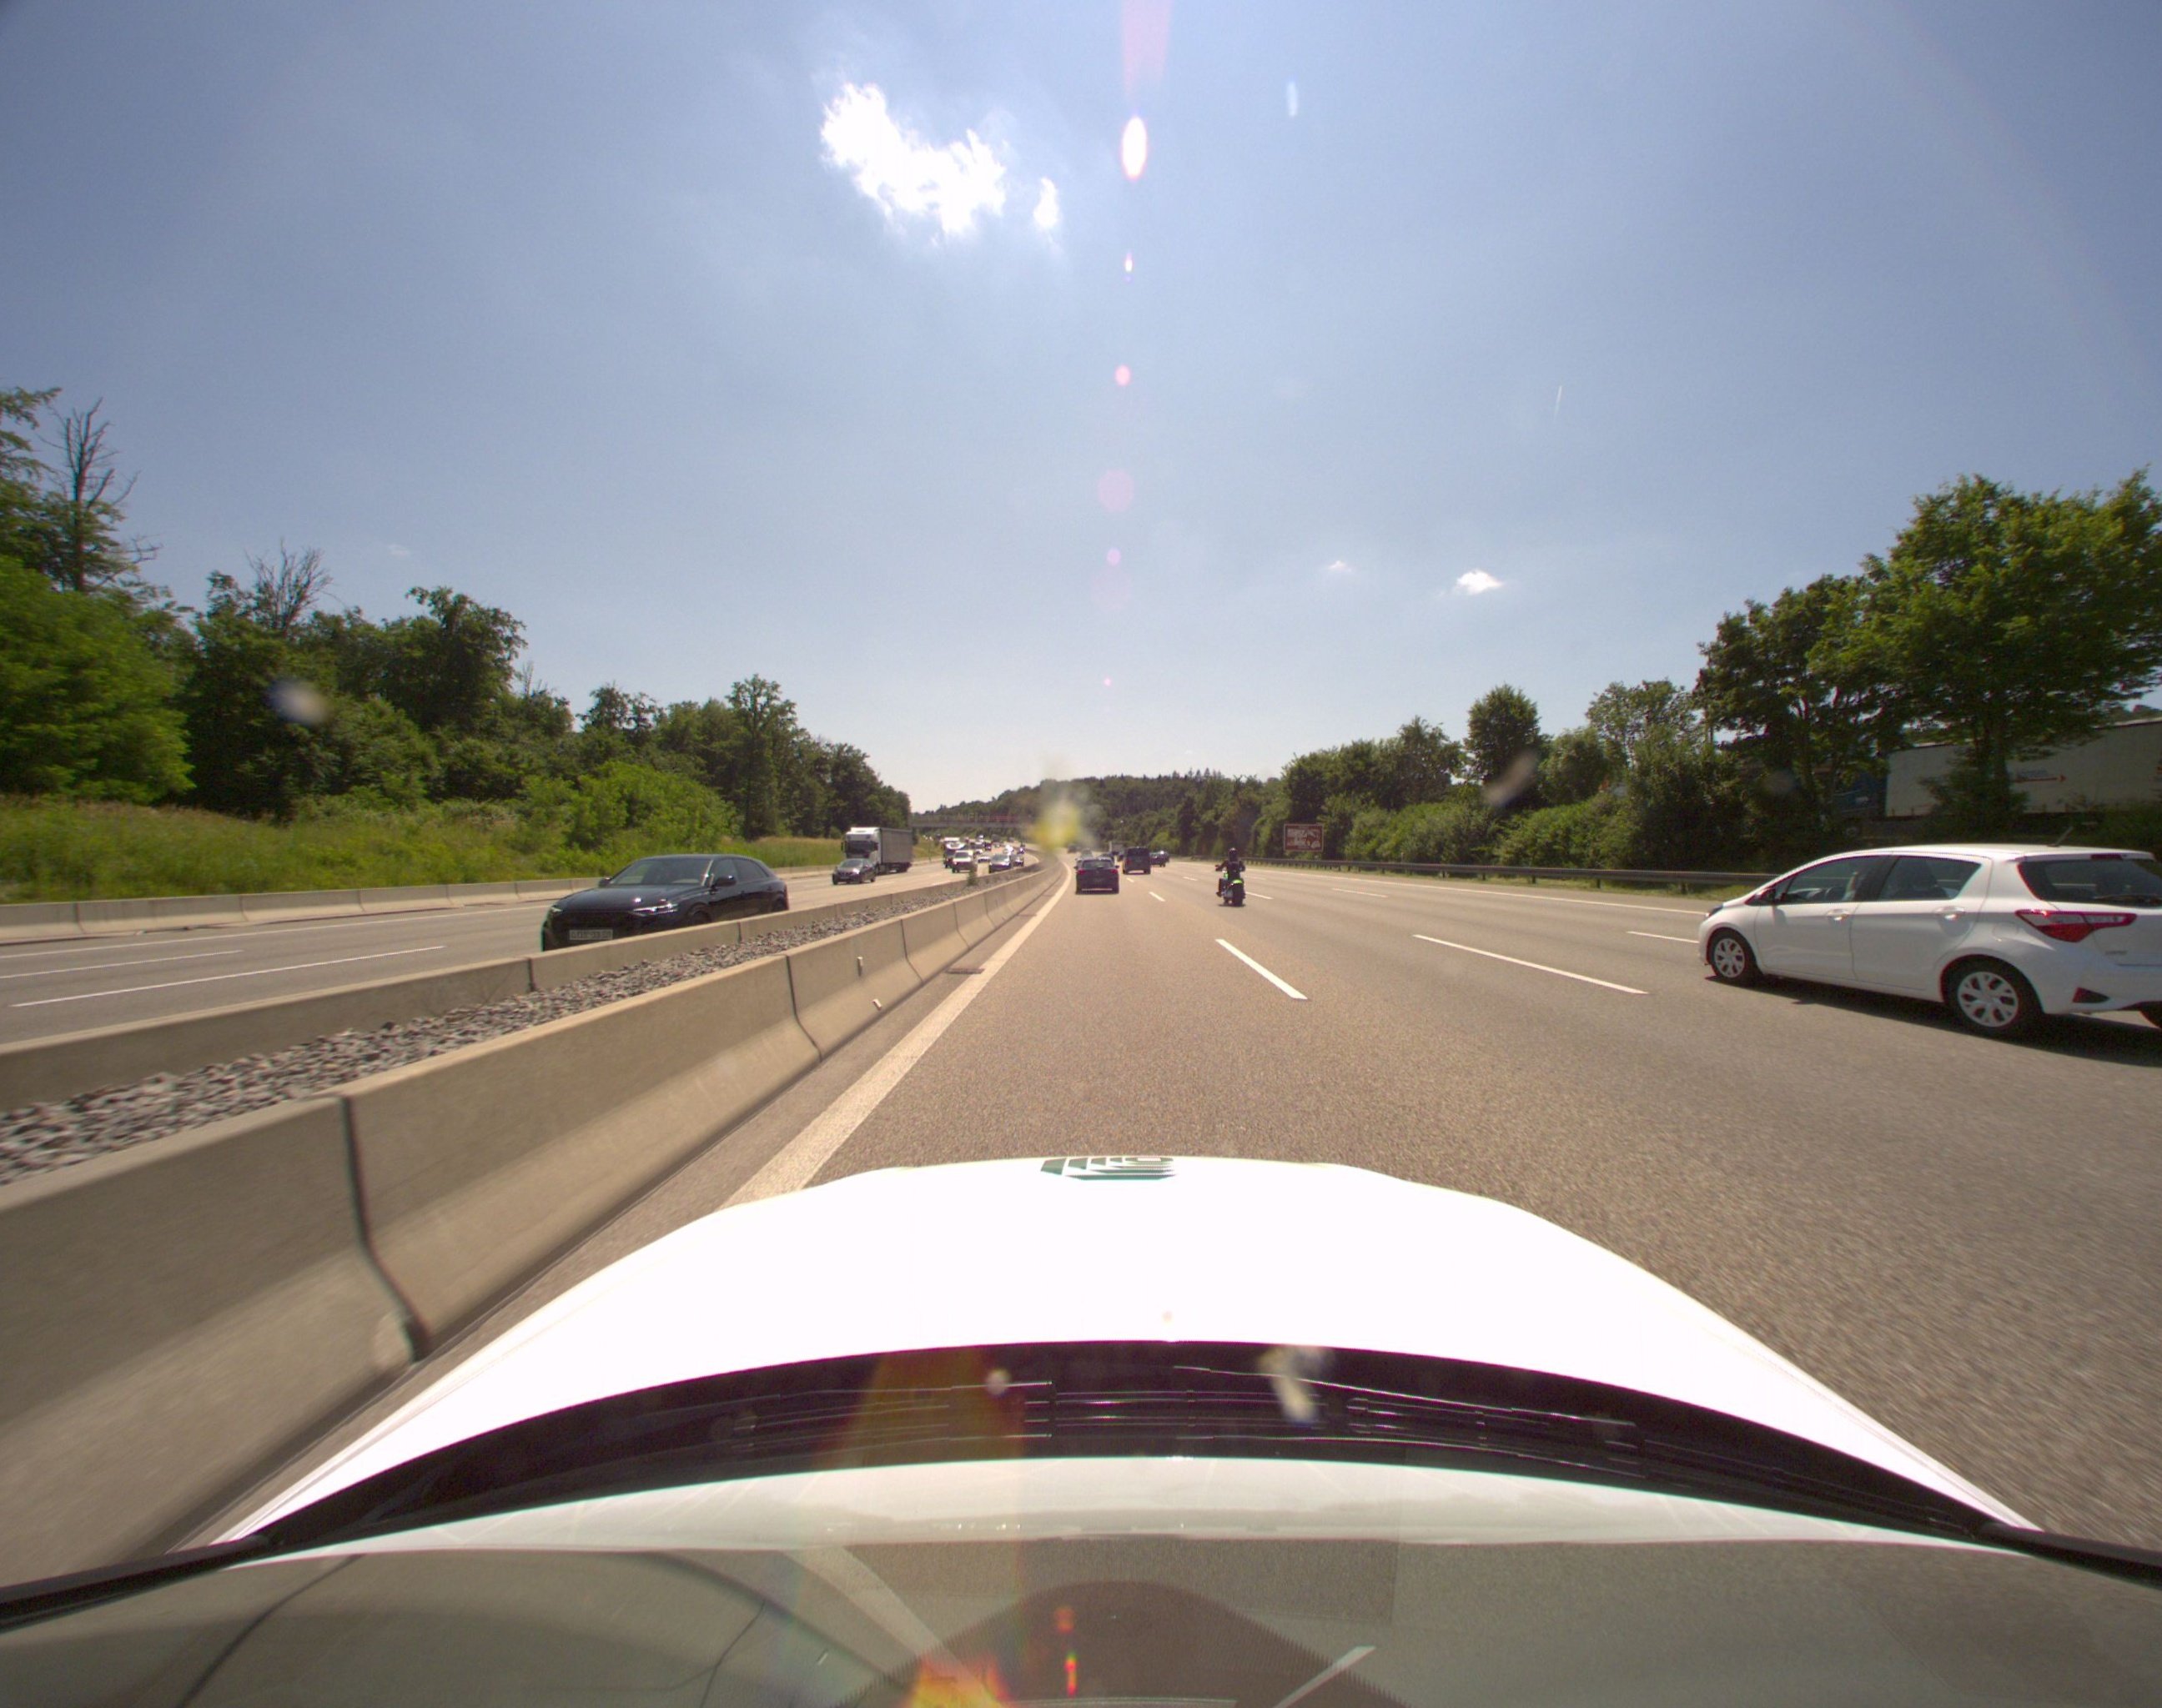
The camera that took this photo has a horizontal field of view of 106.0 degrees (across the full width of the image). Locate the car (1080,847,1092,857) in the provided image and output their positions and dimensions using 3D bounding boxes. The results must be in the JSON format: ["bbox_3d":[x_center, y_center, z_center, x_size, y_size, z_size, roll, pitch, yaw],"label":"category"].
[{"bbox_3d":[0.896,-0.476,153.528,2.098,1.744,4.683,-1,2,-3],"label":"car"}]

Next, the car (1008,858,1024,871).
[{"bbox_3d":[-7.660,1.276,96.219,1.670,1.497,4.947,0,-1,-3],"label":"car"}]

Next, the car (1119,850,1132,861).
[{"bbox_3d":[6.448,0.144,118.536,1.660,1.408,4.904,0,2,0],"label":"car"}]

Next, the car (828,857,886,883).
[{"bbox_3d":[-13.485,0.924,49.252,1.986,1.496,4.800,-1,0,2],"label":"car"}]

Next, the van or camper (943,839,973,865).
[{"bbox_3d":[-14.415,-0.200,95.760,2.551,2.931,7.345,-1,0,-1],"label":"van or camper"}]

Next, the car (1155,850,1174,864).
[{"bbox_3d":[10.804,0.371,105.346,1.988,1.728,3.998,-1,0,-1],"label":"car"}]

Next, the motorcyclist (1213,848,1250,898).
[{"bbox_3d":[4.377,0.544,23.813,0.850,1.427,1.023,-1,0,-1],"label":"motorcyclist"}]

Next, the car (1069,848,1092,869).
[{"bbox_3d":[-0.042,0.448,74.501,2.006,1.846,3.998,-1,-2,-1],"label":"car"}]

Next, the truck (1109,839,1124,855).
[{"bbox_3d":[7.312,-1.476,168.829,2.976,3.166,7.575,-1,2,0],"label":"truck"}]

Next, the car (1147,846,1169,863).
[{"bbox_3d":[7.865,0.061,83.653,1.844,1.728,3.999,-1,0,-1],"label":"car"}]

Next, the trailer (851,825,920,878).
[{"bbox_3d":[-17.638,-0.113,74.714,3.022,4.360,14.270,0,-1,-1],"label":"trailer"}]

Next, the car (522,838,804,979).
[{"bbox_3d":[-6.366,0.723,13.225,1.820,1.829,4.987,-1,0,2],"label":"car"}]

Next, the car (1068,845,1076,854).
[{"bbox_3d":[-2.397,-1.295,221.495,2.258,2.371,4.701,-1,1,0],"label":"car"}]

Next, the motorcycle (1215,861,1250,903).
[{"bbox_3d":[4.419,0.803,23.934,0.534,1.135,2.436,-1,0,-1],"label":"motorcycle"}]

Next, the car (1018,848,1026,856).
[{"bbox_3d":[-15.832,-0.445,217.784,1.990,2.014,3.992,0,-2,-5],"label":"car"}]

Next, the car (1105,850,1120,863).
[{"bbox_3d":[4.072,0.335,106.042,1.938,1.712,4.000,0,-1,0],"label":"car"}]

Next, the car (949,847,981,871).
[{"bbox_3d":[-10.492,0.424,73.795,1.995,2.013,5.186,-1,0,1],"label":"car"}]

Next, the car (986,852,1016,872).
[{"bbox_3d":[-6.736,0.672,69.101,1.866,1.633,5.165,-1,0,1],"label":"car"}]

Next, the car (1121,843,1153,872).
[{"bbox_3d":[4.113,0.307,60.694,1.956,2.033,5.082,-1,-1,0],"label":"car"}]

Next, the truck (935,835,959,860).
[{"bbox_3d":[-19.880,-0.895,120.945,2.697,3.543,6.615,0,-1,-2],"label":"truck"}]

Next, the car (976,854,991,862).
[{"bbox_3d":[-14.859,0.638,124.297,1.988,1.222,3.997,0,-1,-2],"label":"car"}]

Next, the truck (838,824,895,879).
[{"bbox_3d":[-17.577,-0.172,67.070,3.033,4.372,6.453,0,-1,-1],"label":"truck"}]

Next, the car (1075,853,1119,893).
[{"bbox_3d":[0.662,0.713,33.234,1.702,1.433,4.002,0,1,1],"label":"car"}]

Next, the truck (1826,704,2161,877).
[{"bbox_3d":[35.130,-1.933,28.490,3.506,5.320,16.392,0,-1,2],"label":"truck"}]

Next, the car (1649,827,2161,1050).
[{"bbox_3d":[7.838,0.581,7.822,1.743,1.519,4.485,-1,0,2],"label":"car"}]
